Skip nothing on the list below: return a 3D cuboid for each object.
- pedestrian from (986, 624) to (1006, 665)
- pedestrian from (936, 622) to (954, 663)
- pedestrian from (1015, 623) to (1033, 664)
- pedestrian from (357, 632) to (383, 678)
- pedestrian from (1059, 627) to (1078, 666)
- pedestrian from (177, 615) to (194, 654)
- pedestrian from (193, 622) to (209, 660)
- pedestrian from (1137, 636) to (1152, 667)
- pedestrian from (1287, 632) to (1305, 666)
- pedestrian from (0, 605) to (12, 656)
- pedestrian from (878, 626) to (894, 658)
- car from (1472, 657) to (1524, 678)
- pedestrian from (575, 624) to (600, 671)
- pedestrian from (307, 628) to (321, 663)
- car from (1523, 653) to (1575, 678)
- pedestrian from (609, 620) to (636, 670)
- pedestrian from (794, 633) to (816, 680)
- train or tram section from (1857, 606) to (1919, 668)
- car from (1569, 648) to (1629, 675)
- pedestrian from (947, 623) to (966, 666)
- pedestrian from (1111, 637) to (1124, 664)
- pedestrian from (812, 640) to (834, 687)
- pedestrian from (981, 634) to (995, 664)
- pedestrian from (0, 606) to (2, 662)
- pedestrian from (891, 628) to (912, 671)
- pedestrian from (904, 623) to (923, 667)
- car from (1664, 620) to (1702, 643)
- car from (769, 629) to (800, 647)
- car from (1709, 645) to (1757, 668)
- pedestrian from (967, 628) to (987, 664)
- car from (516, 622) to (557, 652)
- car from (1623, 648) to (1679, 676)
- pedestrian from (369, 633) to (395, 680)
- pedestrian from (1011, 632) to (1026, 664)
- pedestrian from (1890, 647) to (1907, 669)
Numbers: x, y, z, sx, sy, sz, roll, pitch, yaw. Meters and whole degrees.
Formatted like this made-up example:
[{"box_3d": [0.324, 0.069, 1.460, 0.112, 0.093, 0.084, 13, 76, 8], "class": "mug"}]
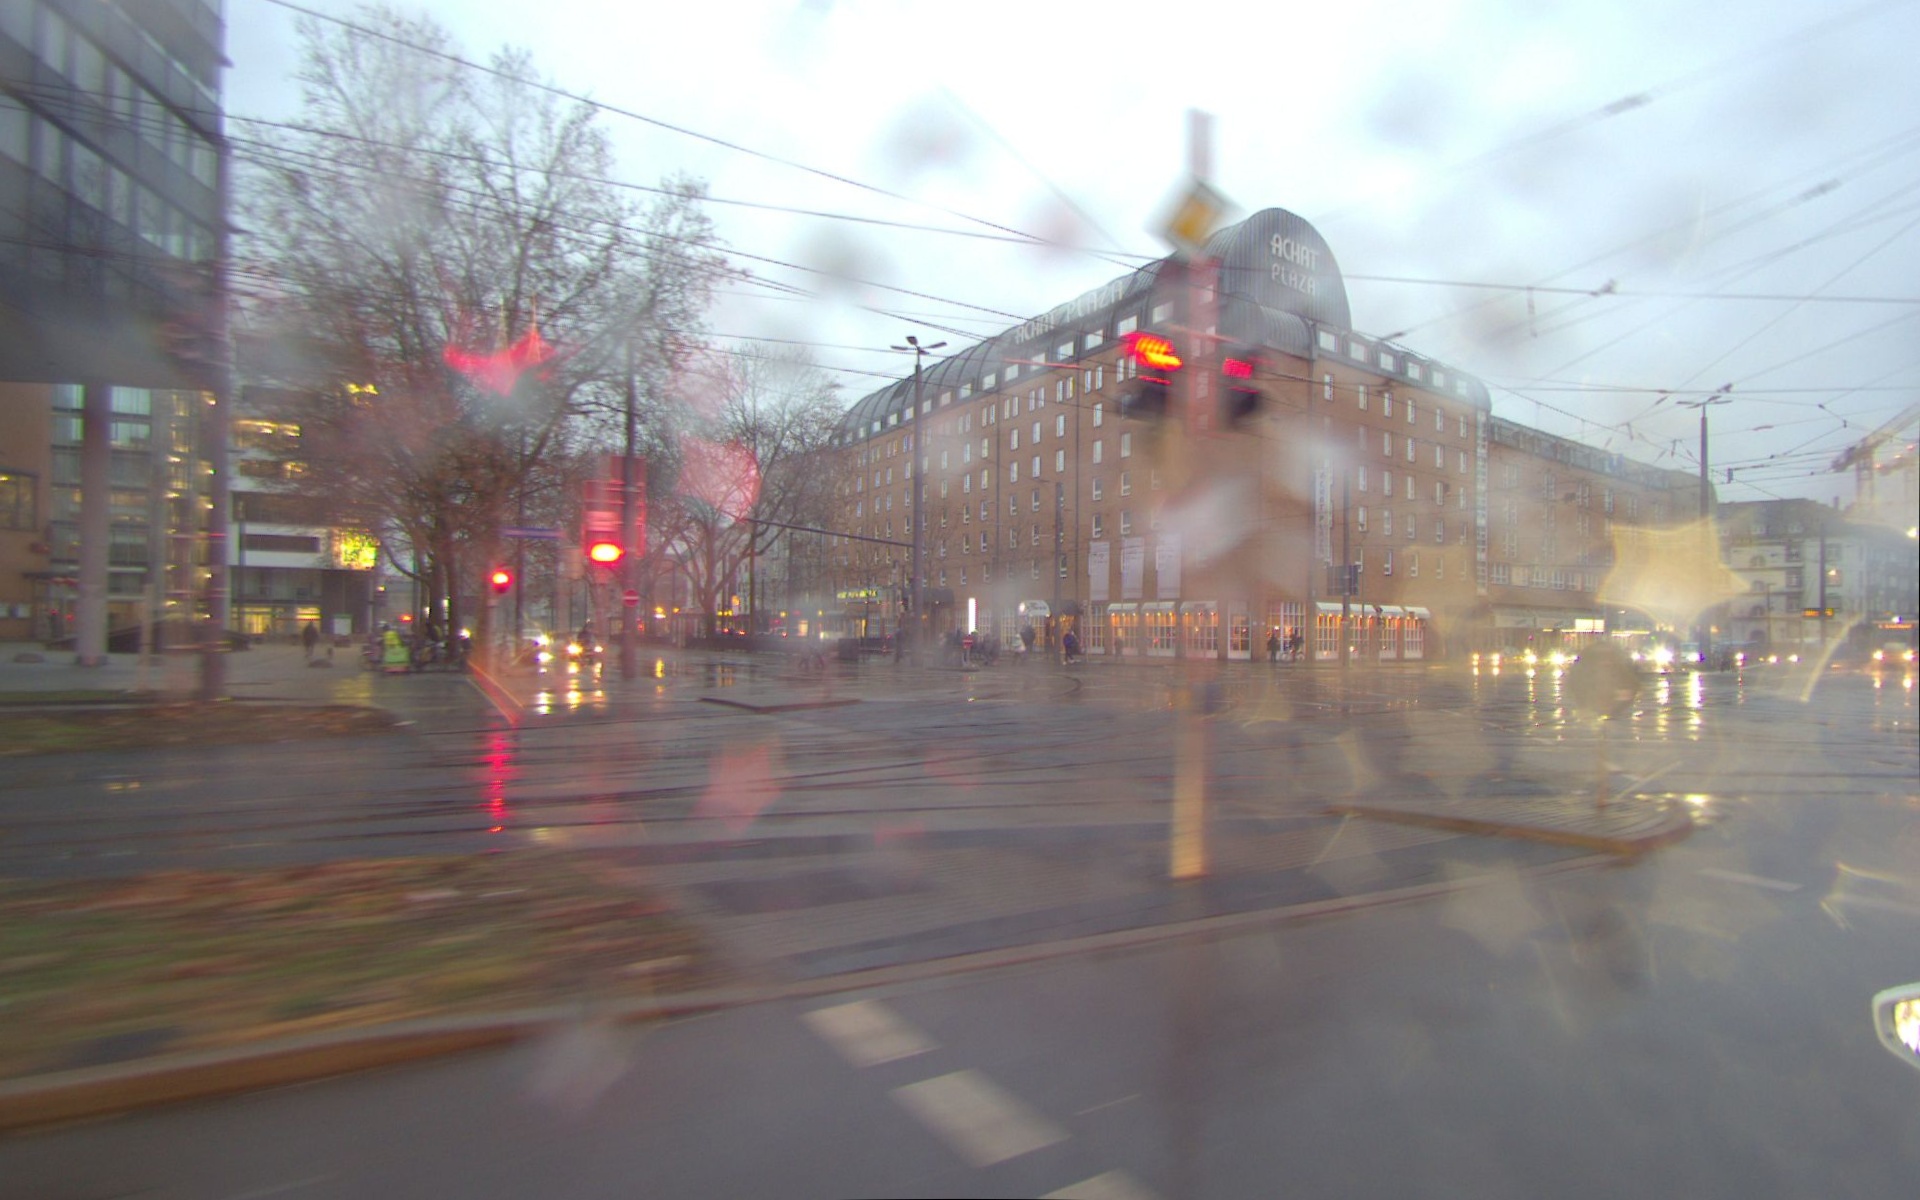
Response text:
[{"box_3d": [1.858, 2.261, 51.290, 0.700, 2.040, 0.752, 2, -2, -34], "class": "pedestrian"}, {"box_3d": [-0.736, 2.116, 50.090, 0.746, 2.040, 0.706, 1, -2, -12], "class": "pedestrian"}, {"box_3d": [3.283, 2.235, 51.617, 0.746, 2.040, 0.706, 1, -2, -12], "class": "pedestrian"}, {"box_3d": [-22.115, 2.062, 37.650, 0.551, 1.706, 0.597, 0, -2, 28], "class": "pedestrian"}, {"box_3d": [5.783, 2.477, 53.599, 0.750, 2.040, 0.702, 2, -2, -28], "class": "pedestrian"}, {"box_3d": [-35.441, 1.574, 45.971, 0.440, 1.773, 0.649, 1, -2, -28], "class": "pedestrian"}, {"box_3d": [-34.943, 1.886, 46.247, 0.440, 1.773, 0.649, 1, -2, -28], "class": "pedestrian"}, {"box_3d": [9.446, 2.655, 51.539, 0.566, 1.558, 0.517, 1, -1, -20], "class": "pedestrian"}, {"box_3d": [20.415, 2.985, 61.080, 0.919, 2.040, 0.758, 0, -2, 28], "class": "pedestrian"}, {"box_3d": [-32.676, 1.036, 33.930, 0.683, 1.731, 0.725, 1, -2, -19], "class": "pedestrian"}, {"box_3d": [-4.714, 2.669, 64.068, 0.711, 2.040, 0.741, 2, -2, -31], "class": "pedestrian"}, {"box_3d": [36.332, 4.533, 67.825, 4.192, 1.339, 1.599, 2, -2, -38], "class": "car"}, {"box_3d": [-16.560, 2.112, 44.612, 0.696, 2.040, 0.756, -1, -2, 38], "class": "pedestrian"}, {"box_3d": [-31.575, 2.229, 49.086, 0.555, 1.706, 0.592, 1, -2, -32], "class": "pedestrian"}, {"box_3d": [36.426, 4.026, 62.077, 3.564, 1.515, 1.570, 2, -2, -38], "class": "car"}, {"box_3d": [-13.888, 1.841, 41.310, 0.696, 2.040, 0.756, -1, -2, 38], "class": "pedestrian"}, {"box_3d": [-6.782, 2.472, 44.038, 0.749, 2.040, 0.703, 2, -2, -26], "class": "pedestrian"}, {"box_3d": [60.836, 2.355, 64.373, 12.148, 3.636, 2.927, 2, -1, -39], "class": "train or tram section"}, {"box_3d": [37.434, 3.594, 58.786, 4.163, 1.515, 1.656, 2, -2, -38], "class": "car"}, {"box_3d": [-0.162, 2.124, 48.356, 0.746, 2.040, 0.799, 1, -2, -12], "class": "pedestrian"}, {"box_3d": [9.152, 2.940, 58.246, 0.566, 1.558, 0.517, 1, -1, -20], "class": "pedestrian"}, {"box_3d": [-6.039, 2.792, 44.334, 0.749, 2.040, 0.703, 2, -2, -26], "class": "pedestrian"}, {"box_3d": [1.452, 2.575, 52.507, 0.566, 1.558, 0.517, 1, -1, -20], "class": "pedestrian"}, {"box_3d": [-32.323, 1.121, 33.037, 0.908, 1.870, 0.772, 1, -2, -21], "class": "pedestrian"}, {"box_3d": [-2.804, 2.369, 48.343, 0.762, 2.040, 0.707, 0, -2, 20], "class": "pedestrian"}, {"box_3d": [-2.187, 2.106, 46.858, 0.746, 2.040, 0.706, 1, -2, -12], "class": "pedestrian"}, {"box_3d": [69.656, 3.038, 96.764, 3.966, 2.040, 1.978, 2, -1, -39], "class": "car"}, {"box_3d": [-18.497, 4.001, 105.788, 2.084, 1.806, 3.675, 2, -2, -30], "class": "car"}, {"box_3d": [49.432, 3.580, 64.210, 3.517, 1.372, 1.668, 3, -1, -40], "class": "car"}, {"box_3d": [0.914, 2.484, 53.910, 0.777, 1.925, 0.832, 2, -2, -31], "class": "pedestrian"}, {"box_3d": [-31.457, 2.731, 74.582, 1.902, 2.165, 4.035, 2, -2, -36], "class": "car"}, {"box_3d": [45.278, 4.014, 65.786, 4.666, 1.732, 1.814, 2, -2, -39], "class": "car"}, {"box_3d": [-21.522, 2.096, 37.398, 0.551, 1.706, 0.597, 0, -2, 29], "class": "pedestrian"}, {"box_3d": [2.957, 2.416, 50.656, 0.566, 1.558, 0.517, 1, -1, -20], "class": "pedestrian"}, {"box_3d": [51.129, 3.172, 54.735, 0.485, 1.168, 0.576, 2, 0, -37], "class": "pedestrian"}]
